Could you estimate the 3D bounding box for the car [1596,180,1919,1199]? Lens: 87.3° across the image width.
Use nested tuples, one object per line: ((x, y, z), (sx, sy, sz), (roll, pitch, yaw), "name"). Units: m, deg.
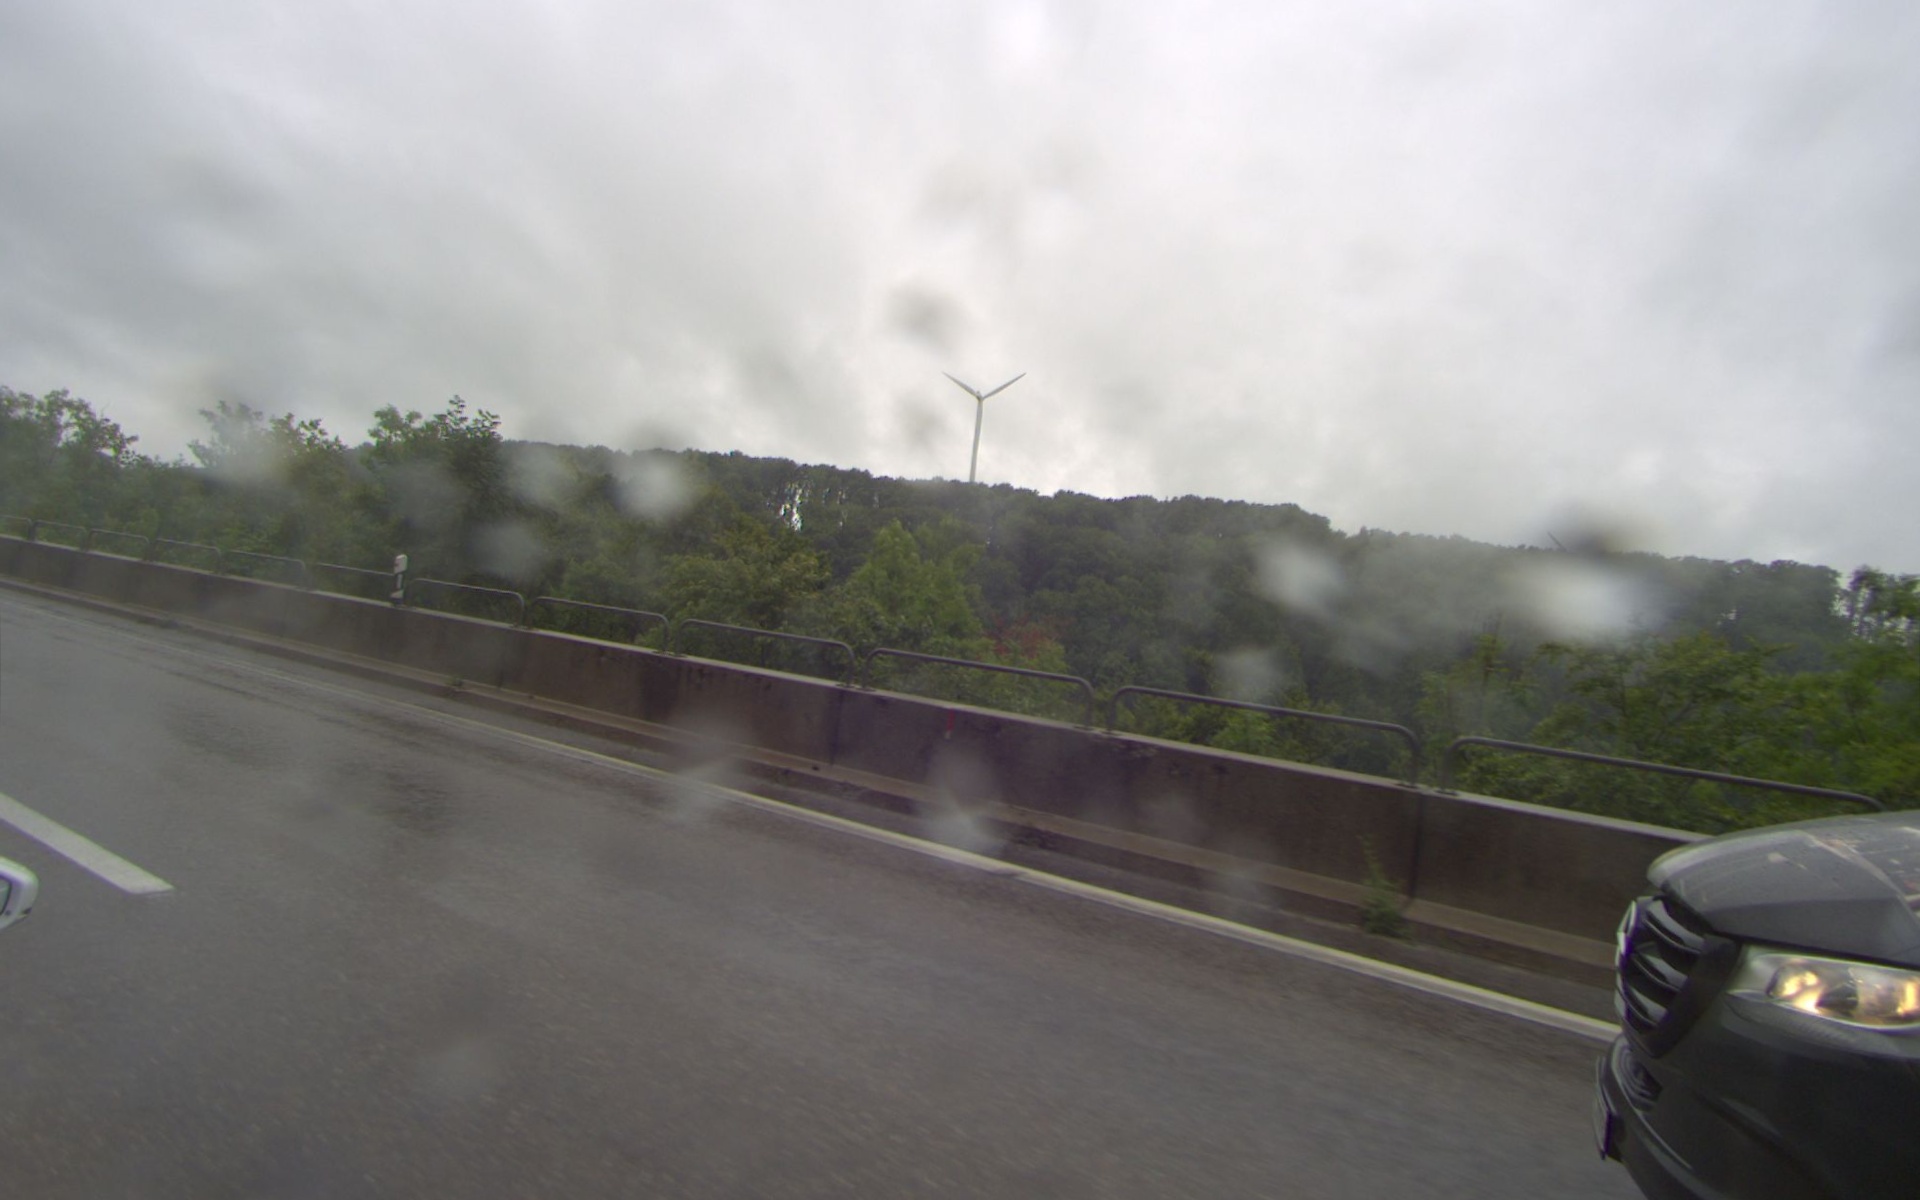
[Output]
((4.804, 0.863, 1.147), (6.593, 2.524, 1.997), (7, 0, 31), "car")
